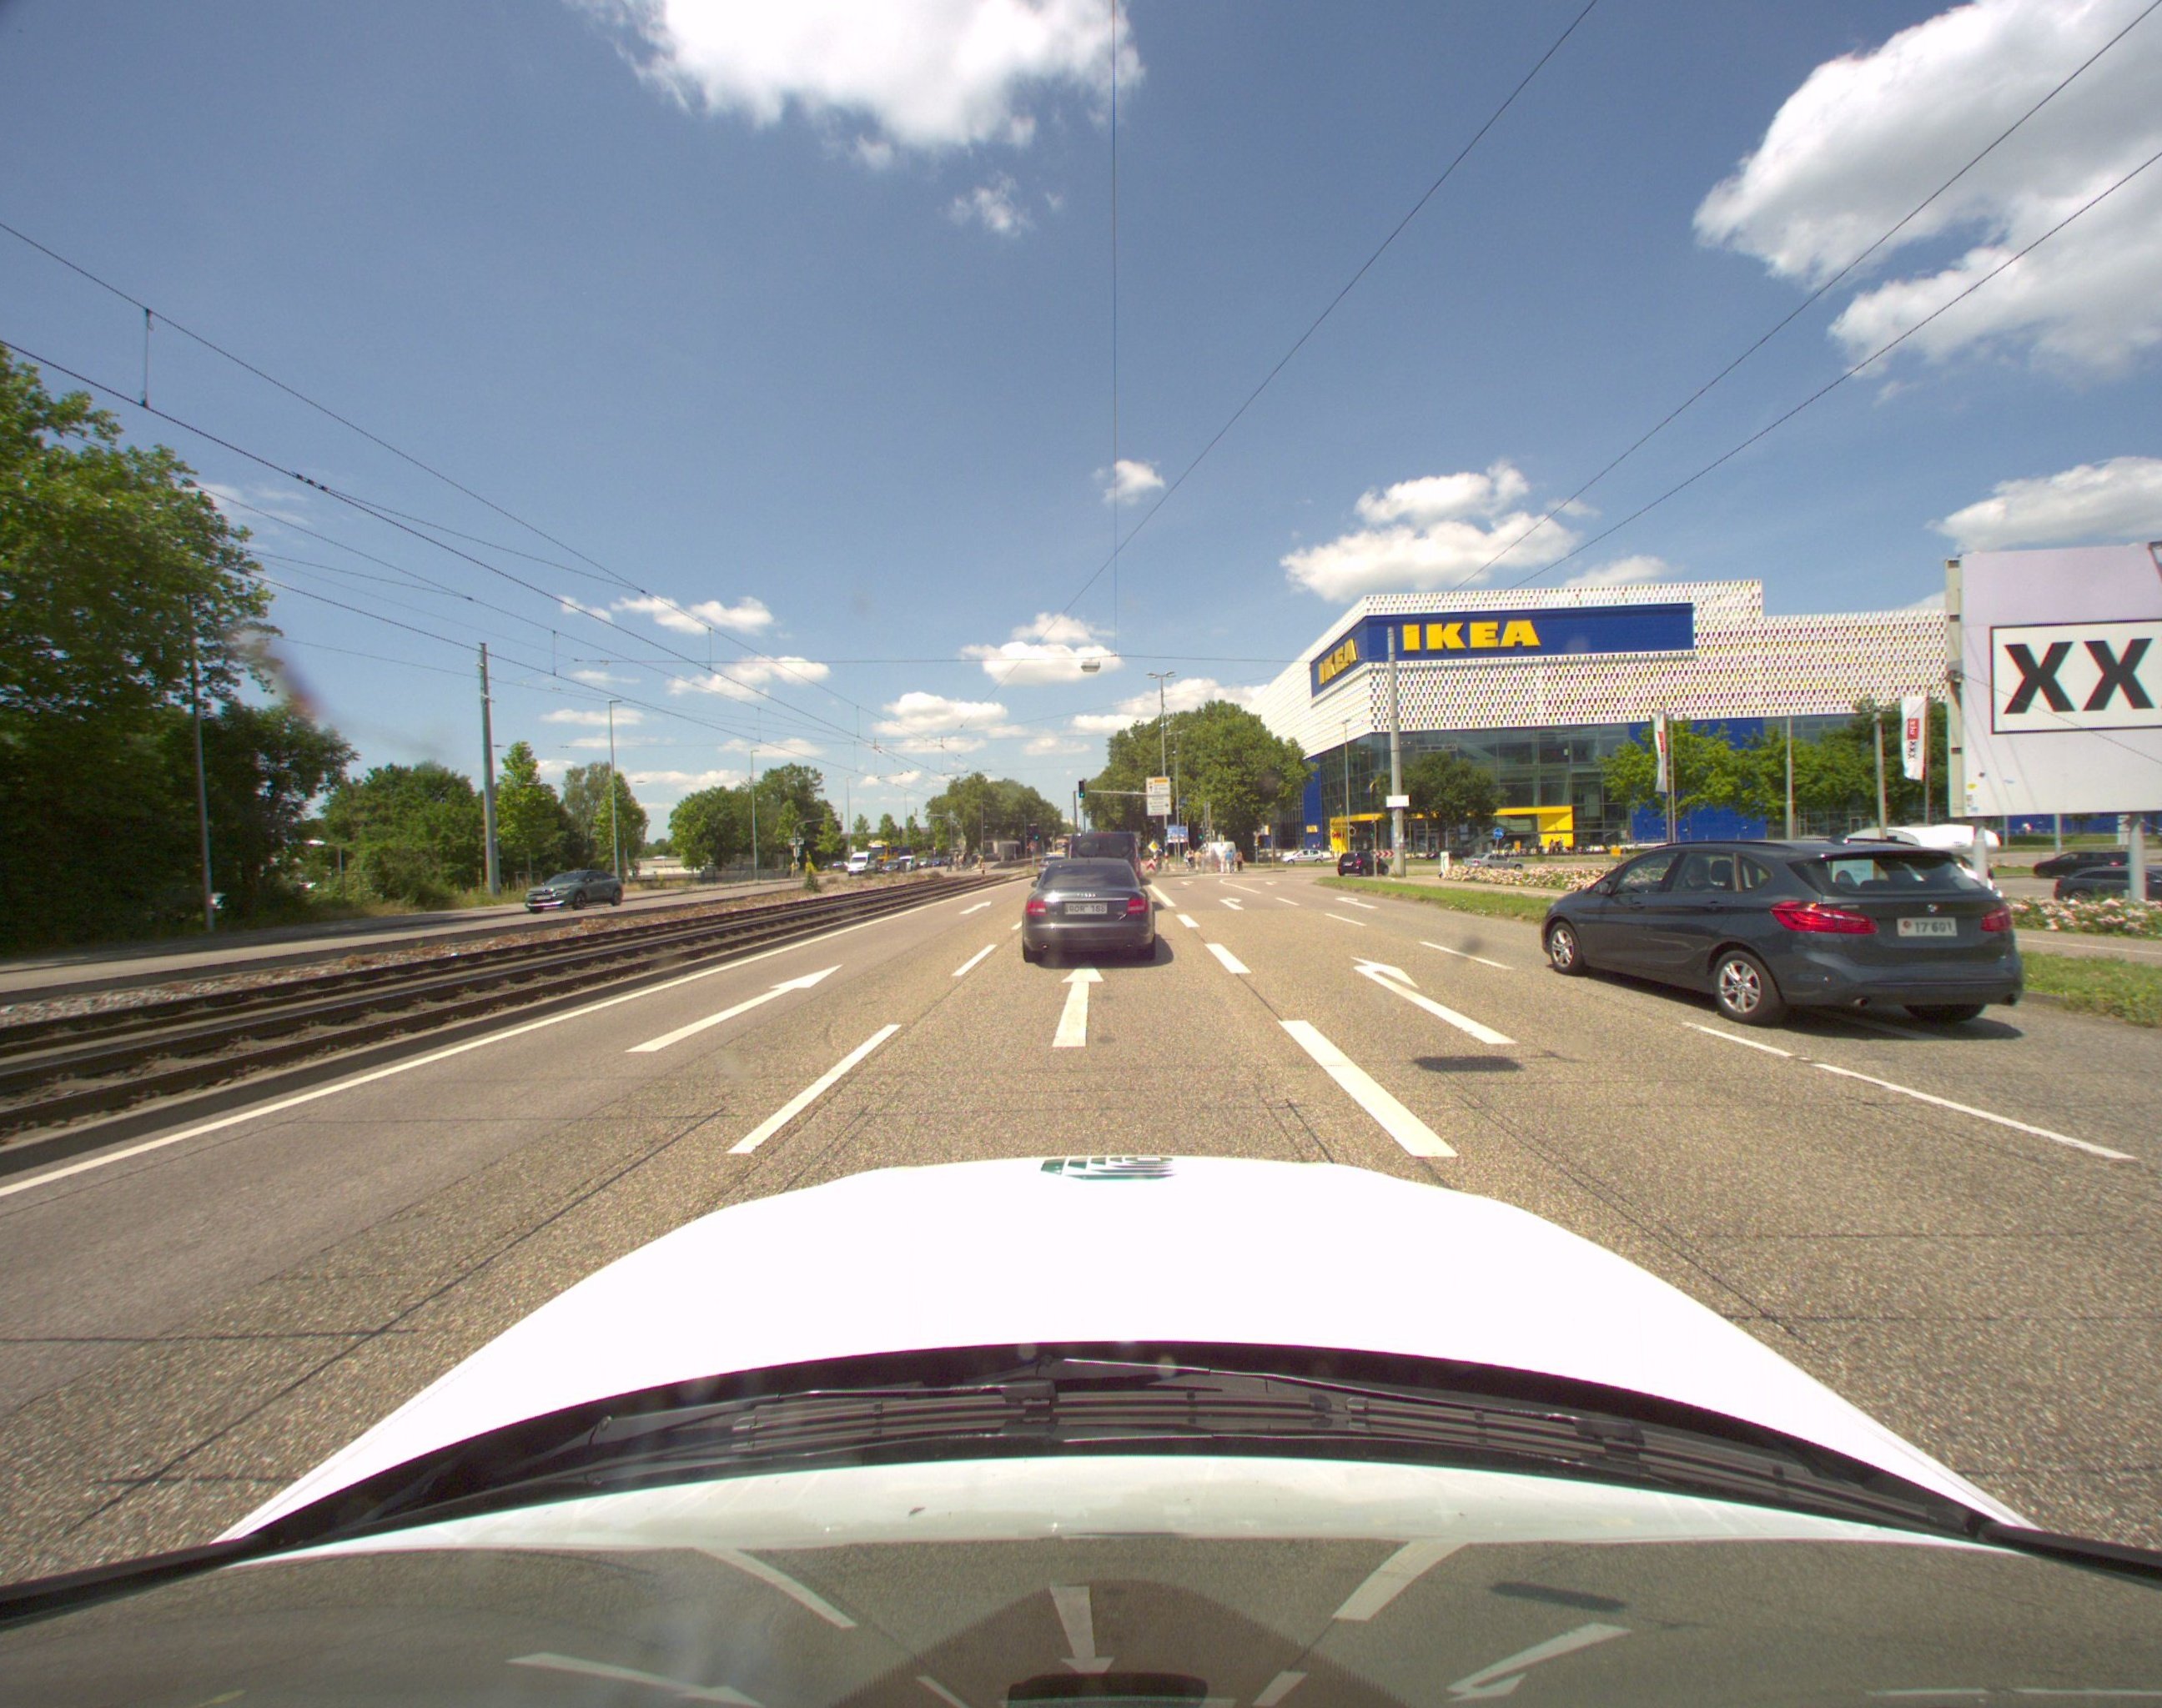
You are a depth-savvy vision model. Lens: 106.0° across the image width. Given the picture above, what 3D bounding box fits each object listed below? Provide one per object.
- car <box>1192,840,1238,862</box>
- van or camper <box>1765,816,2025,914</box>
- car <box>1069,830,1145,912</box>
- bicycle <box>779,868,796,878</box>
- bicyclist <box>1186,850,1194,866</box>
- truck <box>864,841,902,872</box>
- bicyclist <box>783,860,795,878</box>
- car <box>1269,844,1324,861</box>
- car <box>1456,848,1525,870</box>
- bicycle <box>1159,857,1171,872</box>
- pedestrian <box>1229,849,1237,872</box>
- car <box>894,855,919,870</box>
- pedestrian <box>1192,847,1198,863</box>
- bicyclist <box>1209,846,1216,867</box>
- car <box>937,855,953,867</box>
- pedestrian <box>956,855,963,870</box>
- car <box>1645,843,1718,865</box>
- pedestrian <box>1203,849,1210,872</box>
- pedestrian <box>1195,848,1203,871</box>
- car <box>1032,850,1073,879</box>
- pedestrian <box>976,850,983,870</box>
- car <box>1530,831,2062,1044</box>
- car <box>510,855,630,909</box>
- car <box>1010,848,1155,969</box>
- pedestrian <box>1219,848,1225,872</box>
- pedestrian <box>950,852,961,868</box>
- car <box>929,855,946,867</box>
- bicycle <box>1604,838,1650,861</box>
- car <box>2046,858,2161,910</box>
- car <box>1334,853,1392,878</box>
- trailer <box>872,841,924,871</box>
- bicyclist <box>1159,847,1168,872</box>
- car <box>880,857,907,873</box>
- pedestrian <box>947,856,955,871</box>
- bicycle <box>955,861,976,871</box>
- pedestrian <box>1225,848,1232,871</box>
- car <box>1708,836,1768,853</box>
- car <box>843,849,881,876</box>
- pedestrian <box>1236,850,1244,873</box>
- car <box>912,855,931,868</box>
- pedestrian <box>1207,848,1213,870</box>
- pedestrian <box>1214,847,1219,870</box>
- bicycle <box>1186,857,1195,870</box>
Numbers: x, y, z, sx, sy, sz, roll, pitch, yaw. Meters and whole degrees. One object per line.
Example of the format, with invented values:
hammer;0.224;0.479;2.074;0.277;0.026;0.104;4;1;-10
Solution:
car;14.594;-0.272;88.883;2.010;2.309;4.720;-1;0;-38
van or camper;28.312;0.322;28.912;2.494;3.020;7.235;-1;0;6
car;0.696;0.423;21.833;1.830;1.950;4.001;-1;0;2
bicycle;-29.422;1.908;81.728;1.487;0.987;0.485;-1;0;-2
bicyclist;8.057;0.309;60.156;0.468;1.193;0.792;-1;0;4
truck;-23.980;0.259;98.945;2.757;3.569;6.442;-1;0;2
bicyclist;-29.313;1.512;81.790;1.116;1.774;0.340;-1;0;-3
car;19.023;-0.141;72.034;4.475;1.486;2.003;0;0;5
car;29.005;0.349;57.646;4.162;1.486;1.989;0;0;-17
bicycle;6.145;0.753;59.871;0.685;0.993;2.753;-1;0;2
pedestrian;11.168;0.484;59.972;0.501;1.635;0.449;-1;0;4
car;-20.761;1.016;97.106;1.814;1.670;4.465;0;0;3
pedestrian;11.066;0.058;79.000;0.490;1.520;0.710;-1;0;19
bicyclist;11.227;0.223;69.521;0.525;1.764;0.831;-1;0;15
car;-22.237;1.113;133.230;1.811;1.883;4.002;-1;0;2
pedestrian;-12.380;0.874;83.047;0.683;1.564;0.572;-1;0;-2
car;43.451;0.002;59.016;3.969;1.489;1.737;-1;0;3
pedestrian;8.882;0.438;57.533;0.443;1.635;0.430;-1;0;5
pedestrian;8.331;0.400;57.617;0.551;1.635;0.433;-1;0;4
car;-1.552;0.545;45.409;1.986;1.486;4.002;0;0;2
pedestrian;-10.691;0.643;86.041;0.683;2.013;0.572;-1;0;-3
car;6.347;0.603;8.006;1.754;1.526;4.102;-1;0;3
car;-19.745;1.007;31.735;1.988;1.918;4.408;0;0;-2
car;0.095;0.685;12.382;1.786;1.455;4.002;-2;0;2
pedestrian;9.933;0.424;57.406;0.319;1.635;0.377;-1;0;5
pedestrian;-13.035;0.613;84.802;0.816;1.720;0.779;-1;0;24
car;-22.501;1.105;127.745;1.811;1.883;4.002;-1;0;2
bicycle;37.178;-0.301;55.431;2.410;1.481;0.990;-1;0;6
car;35.128;0.954;26.442;1.986;1.537;4.772;-3;0;2
car;18.153;0.712;52.344;1.975;1.486;4.023;1;1;45
trailer;-23.742;0.242;106.676;2.757;3.518;15.884;-1;0;2
bicyclist;6.062;0.425;59.752;0.526;1.789;1.089;-1;0;2
car;-20.605;1.158;89.548;1.815;1.670;4.463;0;0;2
pedestrian;-13.065;0.936;81.951;0.683;1.443;0.572;-1;0;-2
bicycle;-11.468;1.201;80.891;2.055;0.925;0.751;-1;0;-8
pedestrian;10.381;0.400;57.343;0.396;1.635;0.371;-1;0;4
car;59.544;-0.833;73.811;3.770;1.486;2.003;0;0;5
car;-24.084;0.894;89.962;2.235;2.588;6.236;-4;1;1
pedestrian;11.724;0.531;59.928;0.518;1.670;0.495;-1;0;5
car;-23.053;1.100;118.104;1.811;1.883;4.002;-1;0;2
pedestrian;9.452;0.356;59.599;0.379;1.635;0.377;-1;0;5
pedestrian;9.916;0.331;59.598;0.337;1.635;0.377;-1;0;5
bicycle;8.074;0.691;60.274;0.547;0.877;1.700;-1;0;5
